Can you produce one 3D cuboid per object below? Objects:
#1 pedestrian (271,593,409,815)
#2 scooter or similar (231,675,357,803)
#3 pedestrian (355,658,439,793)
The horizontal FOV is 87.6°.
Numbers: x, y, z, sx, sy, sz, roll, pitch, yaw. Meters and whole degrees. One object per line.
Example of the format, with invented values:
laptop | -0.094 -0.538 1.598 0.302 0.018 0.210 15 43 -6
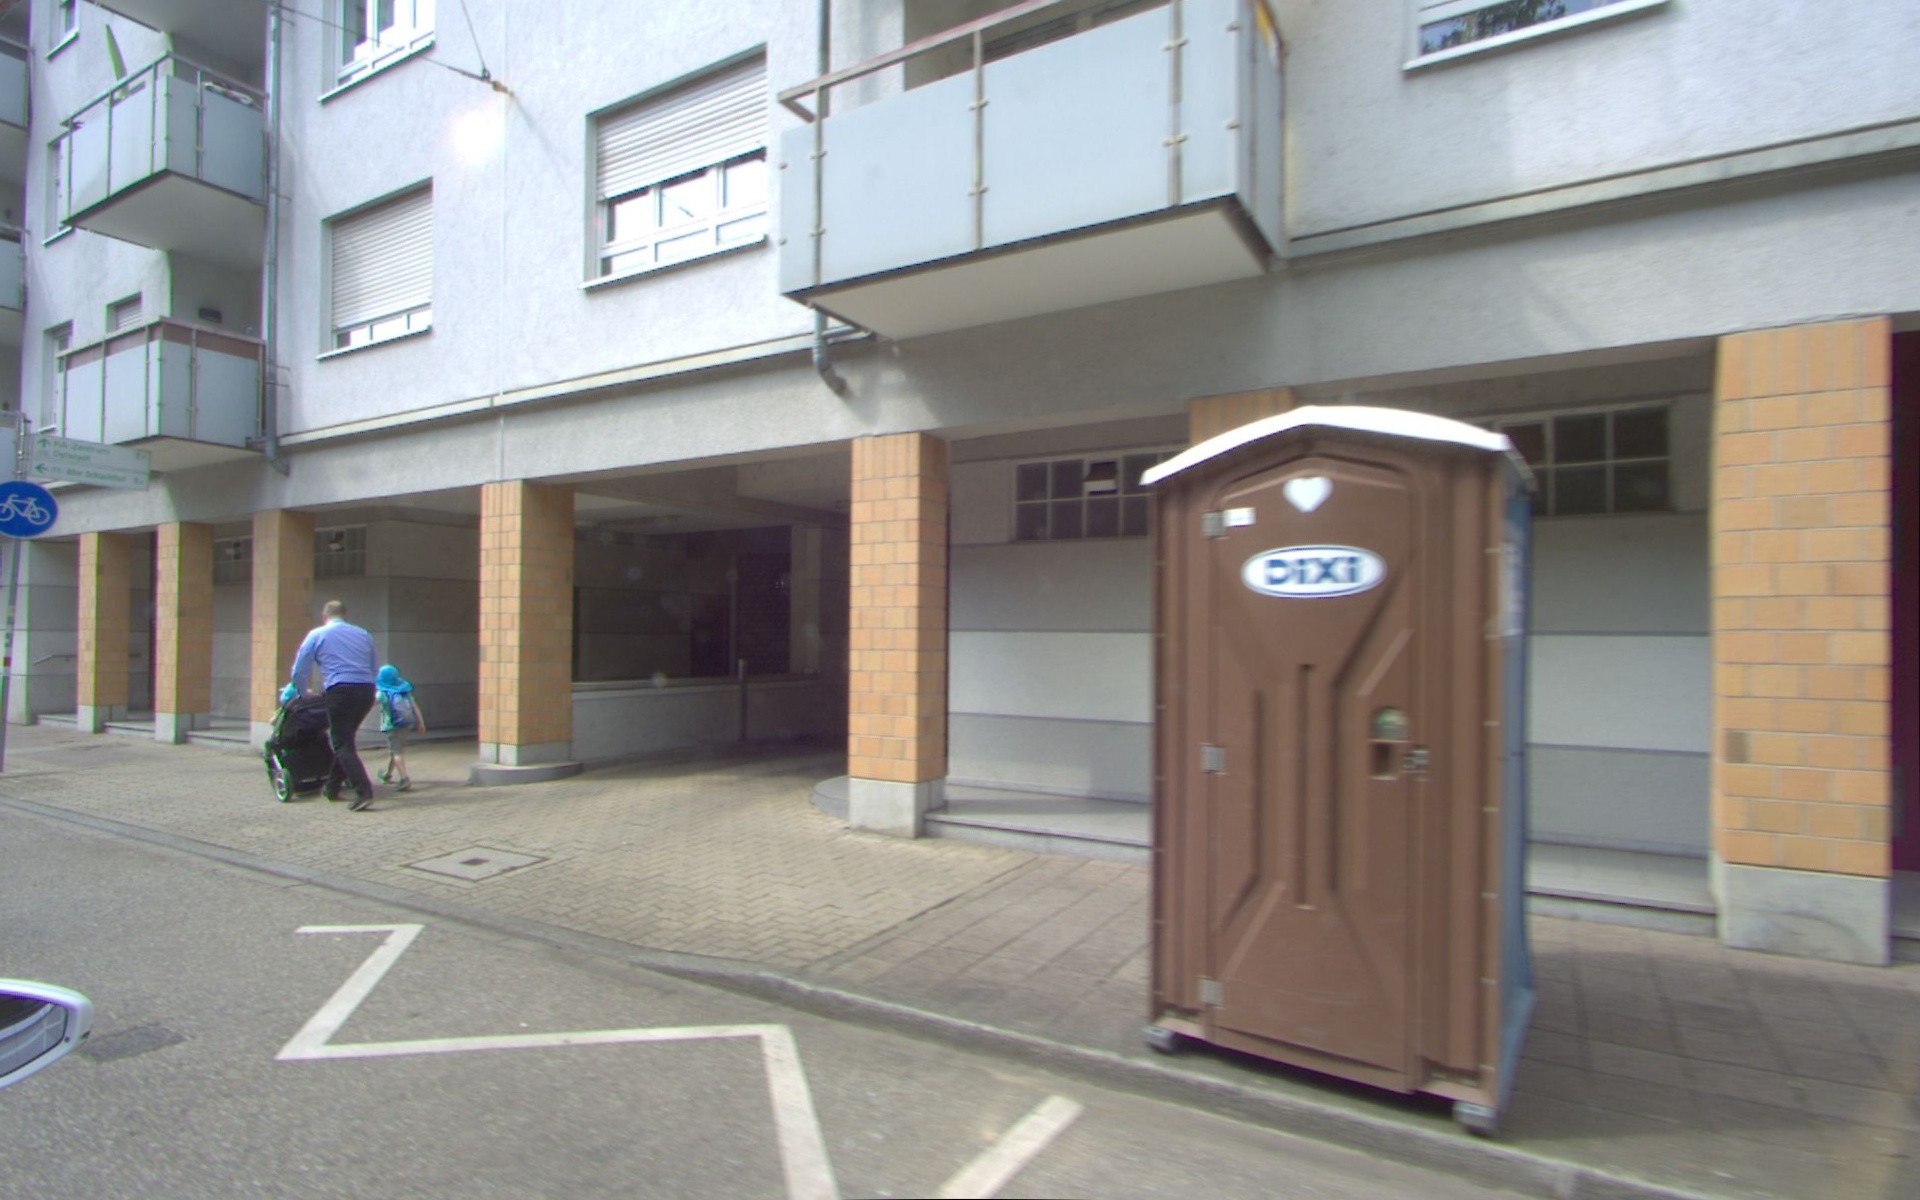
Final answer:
pedestrian | -5.247 0.833 8.476 0.865 1.762 0.619 0 2 32
scooter or similar | -5.988 1.221 9.005 0.893 1.016 0.591 0 2 32
pedestrian | -5.164 1.132 9.194 0.487 1.150 0.455 0 2 32
